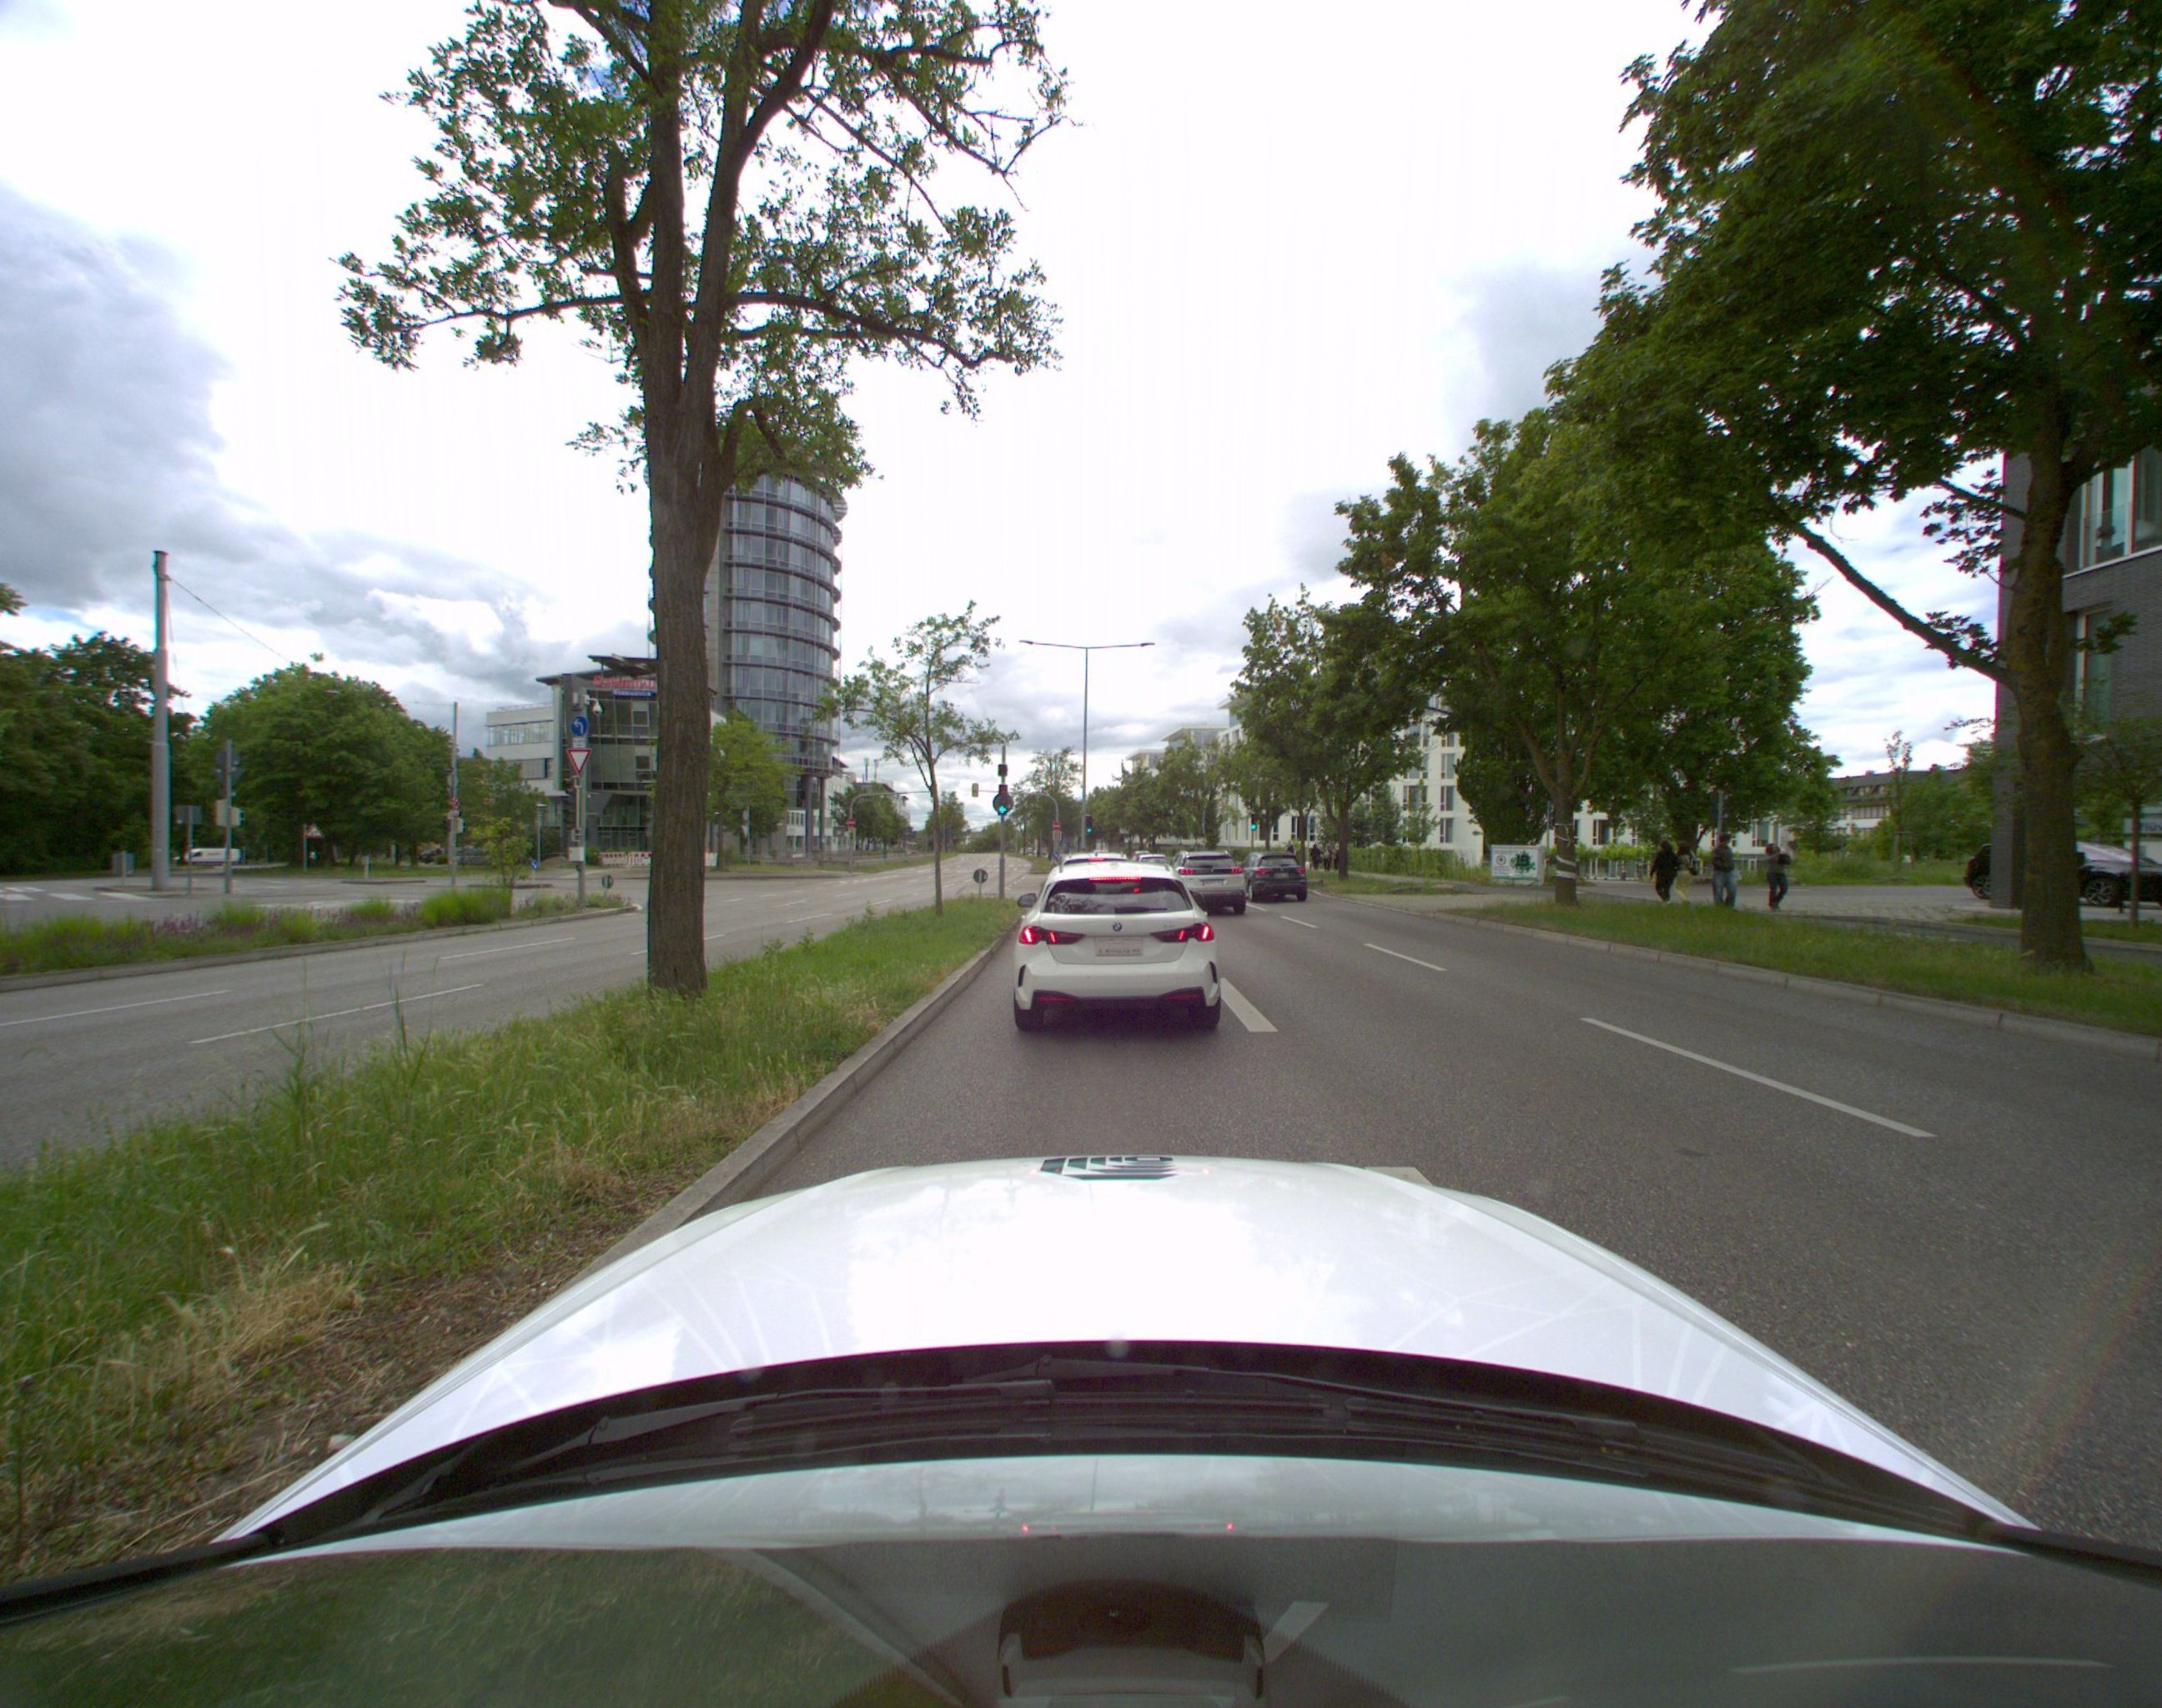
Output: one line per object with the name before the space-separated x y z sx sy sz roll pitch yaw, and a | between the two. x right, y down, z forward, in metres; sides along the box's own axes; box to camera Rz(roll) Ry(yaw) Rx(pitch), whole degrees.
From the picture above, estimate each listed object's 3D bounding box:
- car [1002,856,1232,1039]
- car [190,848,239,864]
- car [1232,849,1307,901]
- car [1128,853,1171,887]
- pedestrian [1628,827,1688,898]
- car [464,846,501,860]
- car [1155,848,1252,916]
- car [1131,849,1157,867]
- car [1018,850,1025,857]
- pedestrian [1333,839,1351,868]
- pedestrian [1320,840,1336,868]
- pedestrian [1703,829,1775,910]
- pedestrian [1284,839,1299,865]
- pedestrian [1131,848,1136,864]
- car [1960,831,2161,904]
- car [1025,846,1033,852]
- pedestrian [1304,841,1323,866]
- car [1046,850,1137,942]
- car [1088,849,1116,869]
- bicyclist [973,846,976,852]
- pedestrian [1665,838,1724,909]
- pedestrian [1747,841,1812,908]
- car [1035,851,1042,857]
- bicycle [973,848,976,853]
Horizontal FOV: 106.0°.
car | 0.351 0.742 8.448 1.815 1.438 4.002 0 0 2
car | -128.873 0.258 121.186 1.978 2.339 4.570 -1 -1 16
car | 5.938 0.616 26.066 1.650 1.512 4.003 0 0 3
car | 3.053 0.699 36.893 1.600 1.468 3.674 0 0 -1
pedestrian | 13.913 0.205 19.673 0.791 1.660 1.061 0 0 7
car | -37.362 -0.060 50.878 0.766 0.876 1.730 0 0 38
car | 3.149 0.679 21.746 1.849 1.596 4.311 -1 0 -1
car | 5.154 0.340 67.030 1.650 1.425 3.530 -1 0 -4
car | -15.190 -0.047 207.882 1.692 1.717 3.993 0 -1 -4
pedestrian | 15.130 -0.025 47.293 0.764 1.685 0.883 0 -1 1
pedestrian | 14.356 -0.019 47.325 0.697 1.595 0.883 0 -1 1
pedestrian | 15.560 0.348 19.294 0.954 1.868 0.980 0 0 7
pedestrian | 13.009 -0.114 50.262 0.739 1.574 0.674 0 -1 0
pedestrian | 8.584 0.267 134.035 0.828 2.627 0.646 0 0 1
car | 24.894 0.297 20.223 1.749 1.646 4.151 0 0 2
car | -14.839 -1.353 231.934 1.992 1.732 3.990 0 -1 -7
pedestrian | 13.540 -0.013 47.380 0.786 1.448 1.112 0 -1 1
car | 0.244 0.714 15.975 1.544 1.569 4.002 0 0 2
car | 1.703 0.385 67.583 1.888 1.596 4.307 0 0 -4
bicyclist | -29.038 -1.296 221.880 0.811 1.653 1.183 0 -1 -13
pedestrian | 14.705 0.461 19.541 0.774 1.660 0.954 0 0 7
pedestrian | 16.559 0.479 19.320 0.827 1.557 0.877 0 0 8
car | -10.782 0.074 207.717 1.691 1.486 3.685 0 0 -6
bicycle | -29.020 -0.956 221.822 0.811 1.104 2.546 0 -1 -12
